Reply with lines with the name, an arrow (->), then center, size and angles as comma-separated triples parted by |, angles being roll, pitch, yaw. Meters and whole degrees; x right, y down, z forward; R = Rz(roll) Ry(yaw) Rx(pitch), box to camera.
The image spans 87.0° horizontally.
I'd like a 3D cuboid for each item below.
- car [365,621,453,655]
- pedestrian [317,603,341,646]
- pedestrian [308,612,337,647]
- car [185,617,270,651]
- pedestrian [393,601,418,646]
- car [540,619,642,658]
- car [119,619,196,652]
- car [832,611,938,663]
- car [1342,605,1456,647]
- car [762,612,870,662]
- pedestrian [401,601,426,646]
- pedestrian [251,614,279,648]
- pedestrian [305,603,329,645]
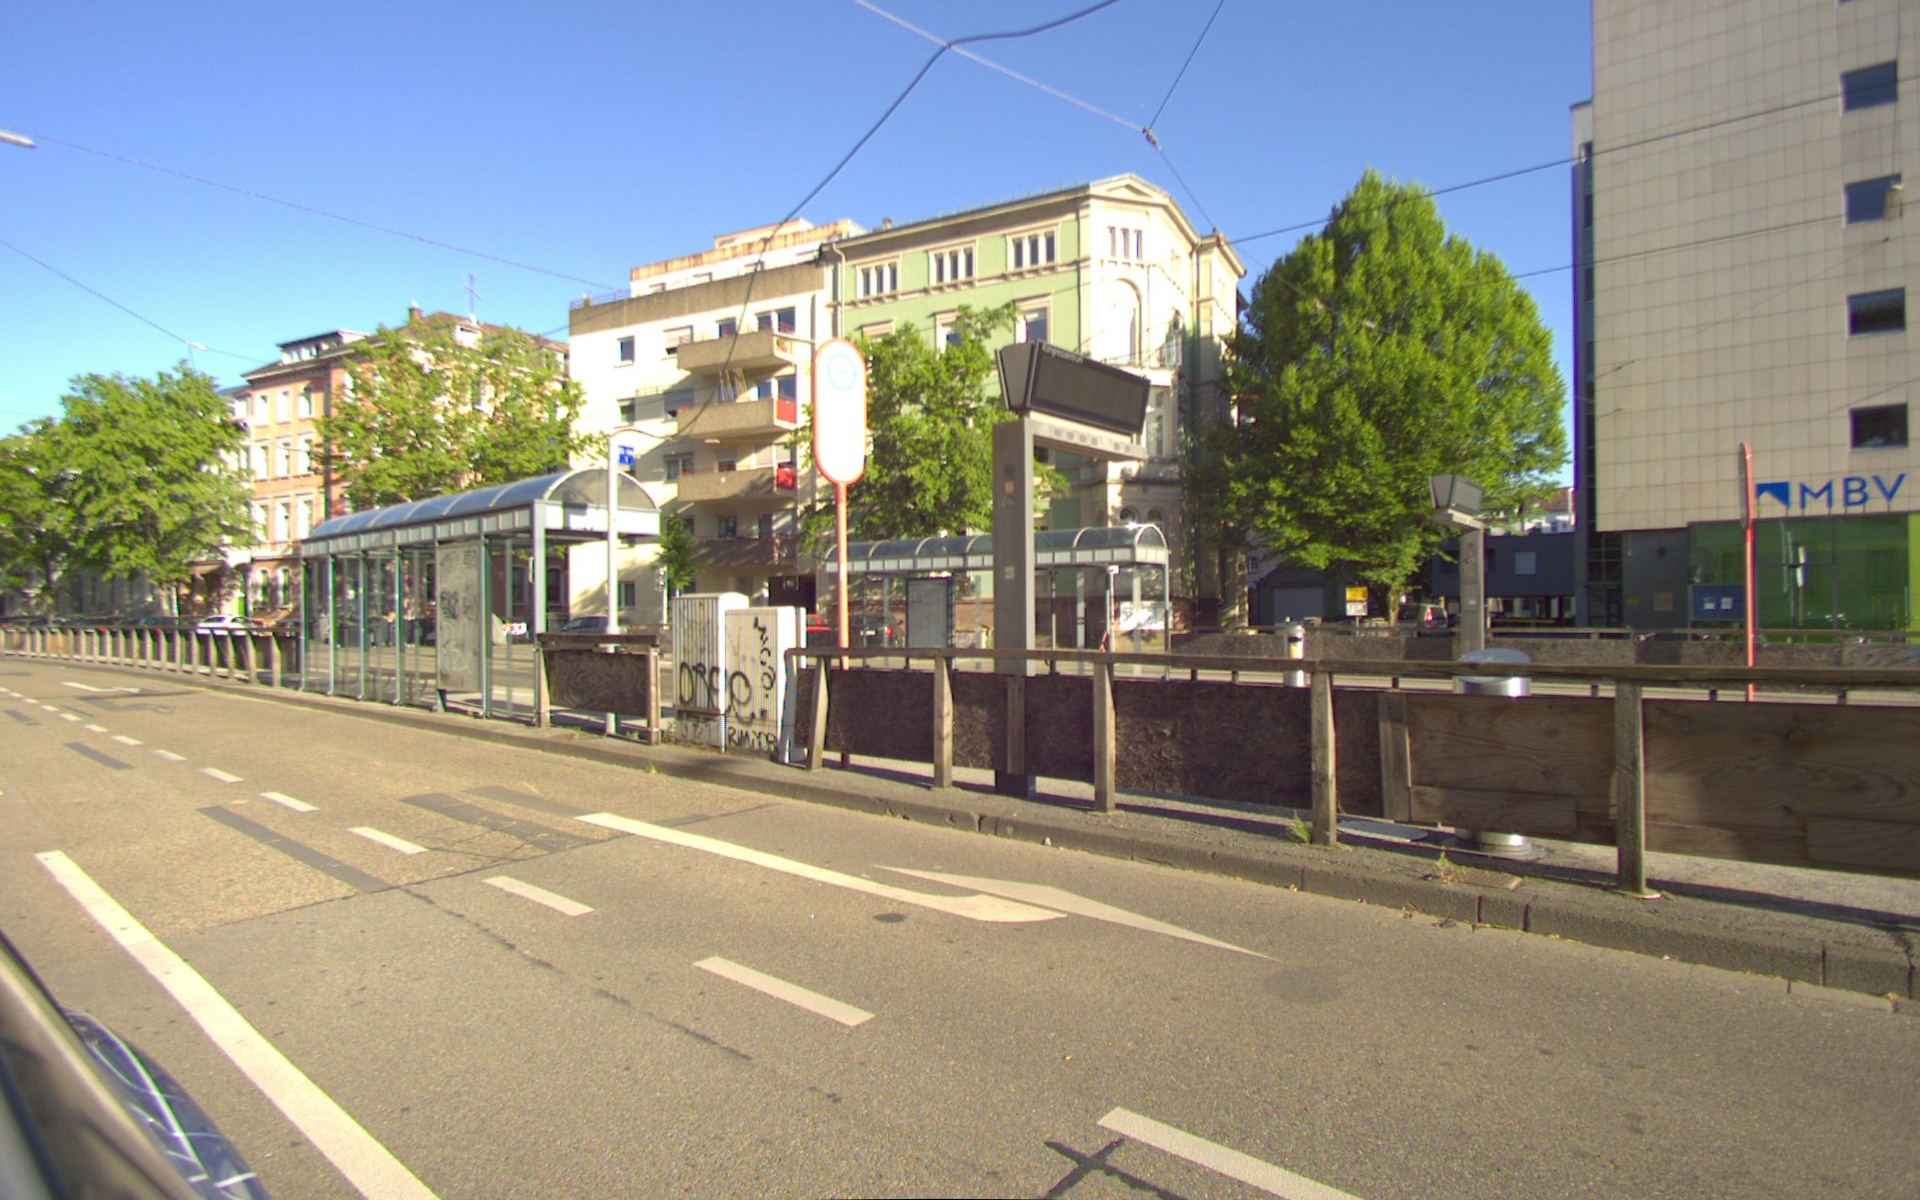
car -> -23.785, 1.623, 43.643 | 3.986, 1.407, 1.592 | -1, -2, 32
pedestrian -> -33.029, 1.258, 52.949 | 0.753, 2.224, 0.804 | -1, -2, 30
pedestrian -> -31.865, 1.475, 50.590 | 1.016, 1.733, 0.846 | -1, -2, 32
car -> -39.446, 1.813, 54.609 | 1.825, 1.721, 4.130 | 0, -1, -5
pedestrian -> -27.818, 1.190, 50.771 | 0.753, 2.224, 0.804 | -1, -2, 30
car -> -14.058, 1.443, 38.556 | 3.725, 1.438, 1.637 | -1, -1, 29
car -> -37.184, 1.622, 46.887 | 3.988, 1.500, 1.629 | -1, -2, 33
car -> -2.412, 1.195, 33.466 | 1.754, 1.594, 3.965 | -1, -1, 26
car -> 15.766, 0.898, 36.462 | 1.544, 1.423, 3.430 | -1, 0, -38
car -> -4.846, 1.227, 34.513 | 1.754, 1.594, 3.965 | -1, -1, 26
pedestrian -> -27.095, 1.181, 50.206 | 0.753, 2.224, 0.804 | -1, -2, 30
pedestrian -> -34.616, 1.544, 50.388 | 0.888, 1.641, 0.859 | -1, -2, 31
pedestrian -> -34.232, 1.273, 53.883 | 0.755, 2.224, 0.803 | -1, -2, 36
